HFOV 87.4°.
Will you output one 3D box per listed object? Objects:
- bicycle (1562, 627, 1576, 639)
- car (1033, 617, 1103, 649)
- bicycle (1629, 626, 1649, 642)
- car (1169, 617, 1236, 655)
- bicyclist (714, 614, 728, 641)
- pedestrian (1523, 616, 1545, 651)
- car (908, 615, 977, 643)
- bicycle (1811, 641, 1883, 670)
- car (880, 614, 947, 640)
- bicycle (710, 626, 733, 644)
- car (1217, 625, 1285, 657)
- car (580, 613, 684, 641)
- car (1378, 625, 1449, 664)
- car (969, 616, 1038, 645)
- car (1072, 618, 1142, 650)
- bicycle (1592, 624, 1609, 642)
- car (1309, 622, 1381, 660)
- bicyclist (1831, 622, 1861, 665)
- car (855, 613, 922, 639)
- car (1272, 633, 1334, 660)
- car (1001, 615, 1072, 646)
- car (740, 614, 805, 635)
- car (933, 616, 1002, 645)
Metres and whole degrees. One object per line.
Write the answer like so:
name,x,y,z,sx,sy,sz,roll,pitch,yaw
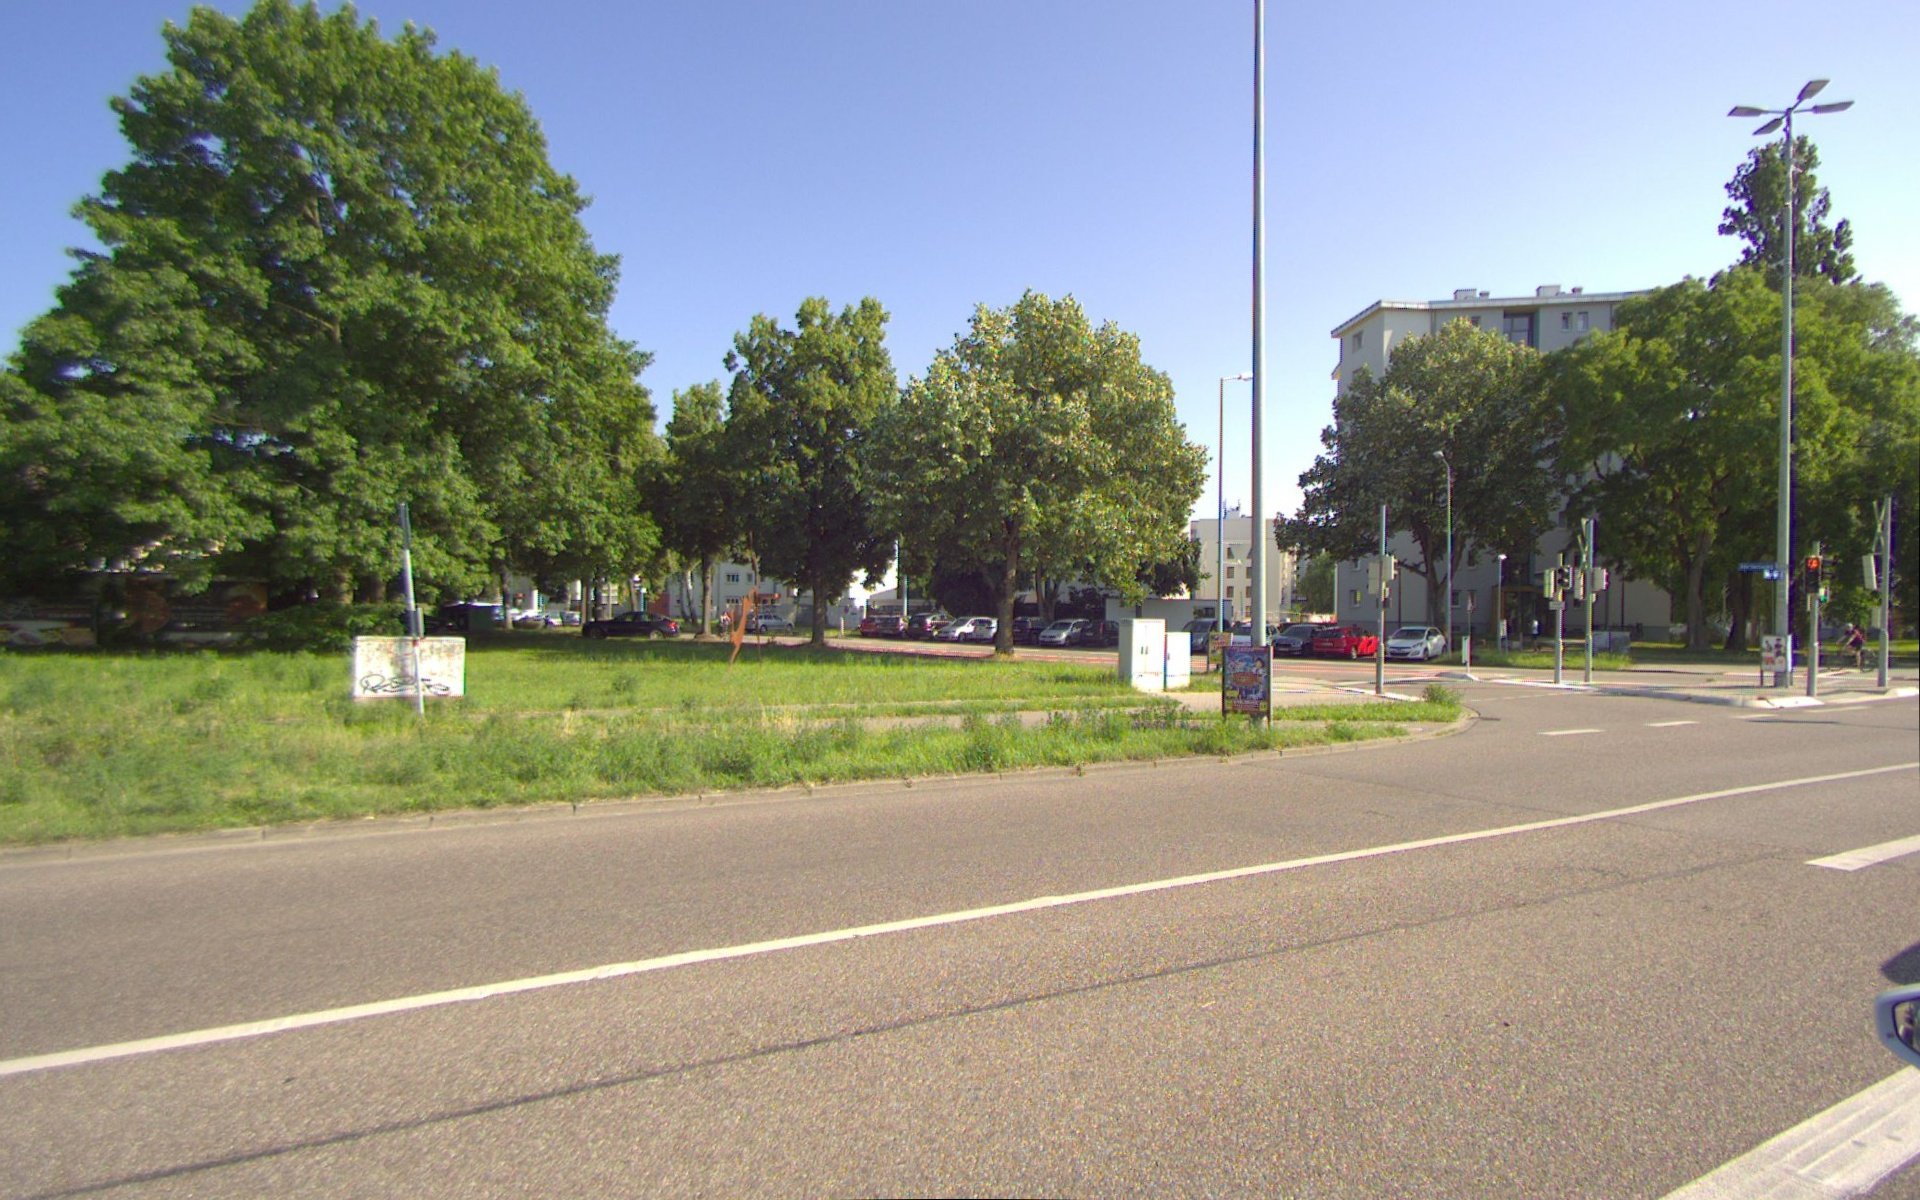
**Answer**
bicycle,39.365,2.106,64.941,0.574,0.718,2.236,1,0,26
car,6.268,1.840,57.812,1.758,1.497,4.692,0,3,39
bicycle,42.677,2.137,63.169,0.658,0.932,2.404,1,-1,26
car,12.679,1.851,52.405,1.759,1.835,3.979,0,-1,41
bicyclist,-13.646,1.554,57.313,0.612,1.544,0.621,-1,1,-35
pedestrian,28.625,1.657,50.086,0.693,1.736,0.623,0,0,-18
car,-1.061,1.817,64.630,1.758,1.497,4.791,0,2,39
bicycle,33.017,2.062,37.404,2.030,1.054,0.622,1,0,3
car,-3.042,1.760,66.883,1.758,1.497,4.791,0,2,39
bicycle,-13.626,1.992,57.371,0.648,0.915,1.791,1,0,-36
car,14.702,2.023,50.568,1.759,1.541,3.979,0,-1,41
car,-16.254,1.332,49.942,4.682,1.338,1.524,1,-1,-8
car,20.506,1.964,45.358,1.760,1.459,3.977,0,2,43
car,2.709,1.822,61.464,1.758,1.497,4.755,0,2,39
car,8.425,1.896,57.158,1.758,1.497,4.791,0,2,39
bicycle,40.779,2.092,63.949,0.601,1.080,1.916,1,-2,24
car,18.195,1.912,47.385,1.761,1.435,3.975,0,3,44
bicyclist,32.981,1.624,37.407,0.591,1.581,0.609,1,0,3
car,-4.805,1.752,68.350,1.758,1.497,4.791,0,2,39
car,16.637,2.207,48.681,1.445,1.209,3.765,0,-1,43
car,4.609,1.800,59.888,1.758,1.497,4.791,0,3,39
car,-14.197,1.865,76.322,1.760,1.497,4.786,0,-1,43
car,0.511,1.867,62.706,1.758,1.497,4.791,0,2,39
